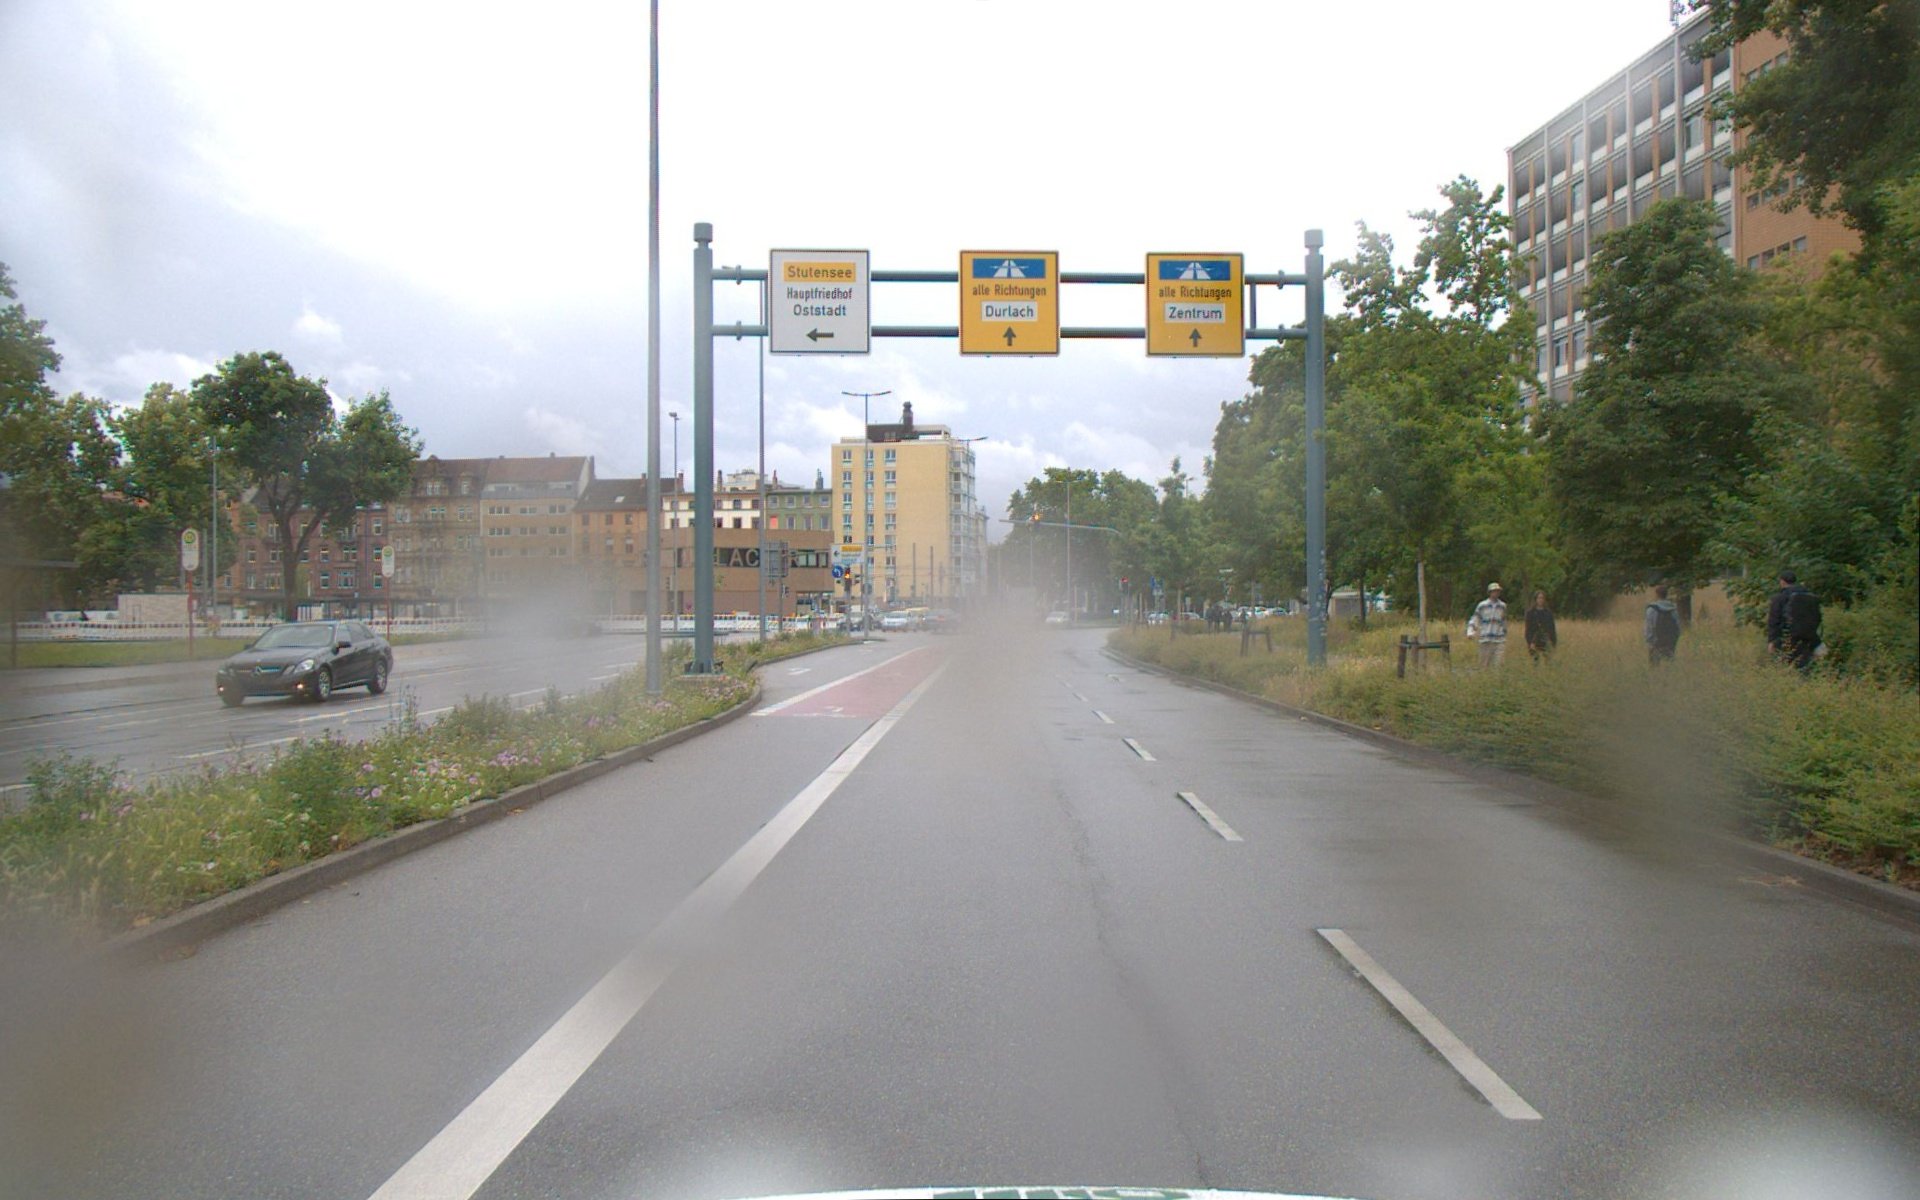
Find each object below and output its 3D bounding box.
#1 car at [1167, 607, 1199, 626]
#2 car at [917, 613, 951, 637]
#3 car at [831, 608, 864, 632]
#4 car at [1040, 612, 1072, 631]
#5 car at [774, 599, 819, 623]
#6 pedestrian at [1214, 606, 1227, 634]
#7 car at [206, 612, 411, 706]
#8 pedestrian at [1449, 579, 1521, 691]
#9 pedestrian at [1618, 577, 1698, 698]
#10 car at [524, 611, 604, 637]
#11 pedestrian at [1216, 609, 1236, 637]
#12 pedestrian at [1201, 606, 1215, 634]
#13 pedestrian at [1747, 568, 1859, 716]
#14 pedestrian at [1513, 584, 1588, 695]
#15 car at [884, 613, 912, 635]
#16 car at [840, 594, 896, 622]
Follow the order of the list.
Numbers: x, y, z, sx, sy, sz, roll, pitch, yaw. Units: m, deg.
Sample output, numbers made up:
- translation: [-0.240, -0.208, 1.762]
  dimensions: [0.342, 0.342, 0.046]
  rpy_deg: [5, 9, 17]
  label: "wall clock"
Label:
- translation: [20.321, 1.468, 150.751]
  dimensions: [1.754, 1.672, 4.156]
  rpy_deg: [0, 0, 25]
  label: "car"
- translation: [-1.930, 1.857, 124.752]
  dimensions: [1.951, 1.664, 4.606]
  rpy_deg: [-2, 0, 6]
  label: "car"
- translation: [-8.080, 1.442, 119.373]
  dimensions: [1.669, 1.736, 3.823]
  rpy_deg: [0, 0, 7]
  label: "car"
- translation: [8.579, 1.918, 147.937]
  dimensions: [1.645, 1.528, 3.867]
  rpy_deg: [-1, 0, 23]
  label: "car"
- translation: [-20.635, 1.345, 208.531]
  dimensions: [5.237, 2.938, 2.340]
  rpy_deg: [-1, 0, 6]
  label: "car"
- translation: [15.320, 1.165, 97.405]
  dimensions: [0.688, 1.616, 0.937]
  rpy_deg: [0, -1, 13]
  label: "pedestrian"
- translation: [-12.282, 1.057, 31.540]
  dimensions: [1.771, 1.567, 4.705]
  rpy_deg: [-2, 0, 3]
  label: "car"
- translation: [8.567, 0.556, 27.030]
  dimensions: [0.913, 1.750, 0.829]
  rpy_deg: [1, 2, 4]
  label: "pedestrian"
- translation: [10.770, 0.572, 25.545]
  dimensions: [0.913, 1.828, 0.829]
  rpy_deg: [0, 0, 6]
  label: "pedestrian"
- translation: [-22.262, 1.352, 93.093]
  dimensions: [4.108, 1.427, 1.617]
  rpy_deg: [0, 0, -3]
  label: "car"
- translation: [15.027, 1.294, 93.463]
  dimensions: [1.000, 1.616, 0.937]
  rpy_deg: [0, 0, 13]
  label: "pedestrian"
- translation: [14.678, 1.174, 97.985]
  dimensions: [0.737, 1.616, 0.937]
  rpy_deg: [0, -1, 13]
  label: "pedestrian"
- translation: [10.432, 0.509, 20.501]
  dimensions: [0.913, 1.778, 1.046]
  rpy_deg: [0, 0, 6]
  label: "pedestrian"
- translation: [9.500, 0.622, 26.636]
  dimensions: [0.913, 1.733, 0.829]
  rpy_deg: [1, 2, 4]
  label: "pedestrian"
- translation: [-4.312, 1.648, 114.809]
  dimensions: [1.644, 1.429, 4.158]
  rpy_deg: [-1, 0, 1]
  label: "car"
- translation: [-11.508, 0.974, 207.371]
  dimensions: [6.598, 3.439, 2.811]
  rpy_deg: [-1, 0, 6]
  label: "car"
